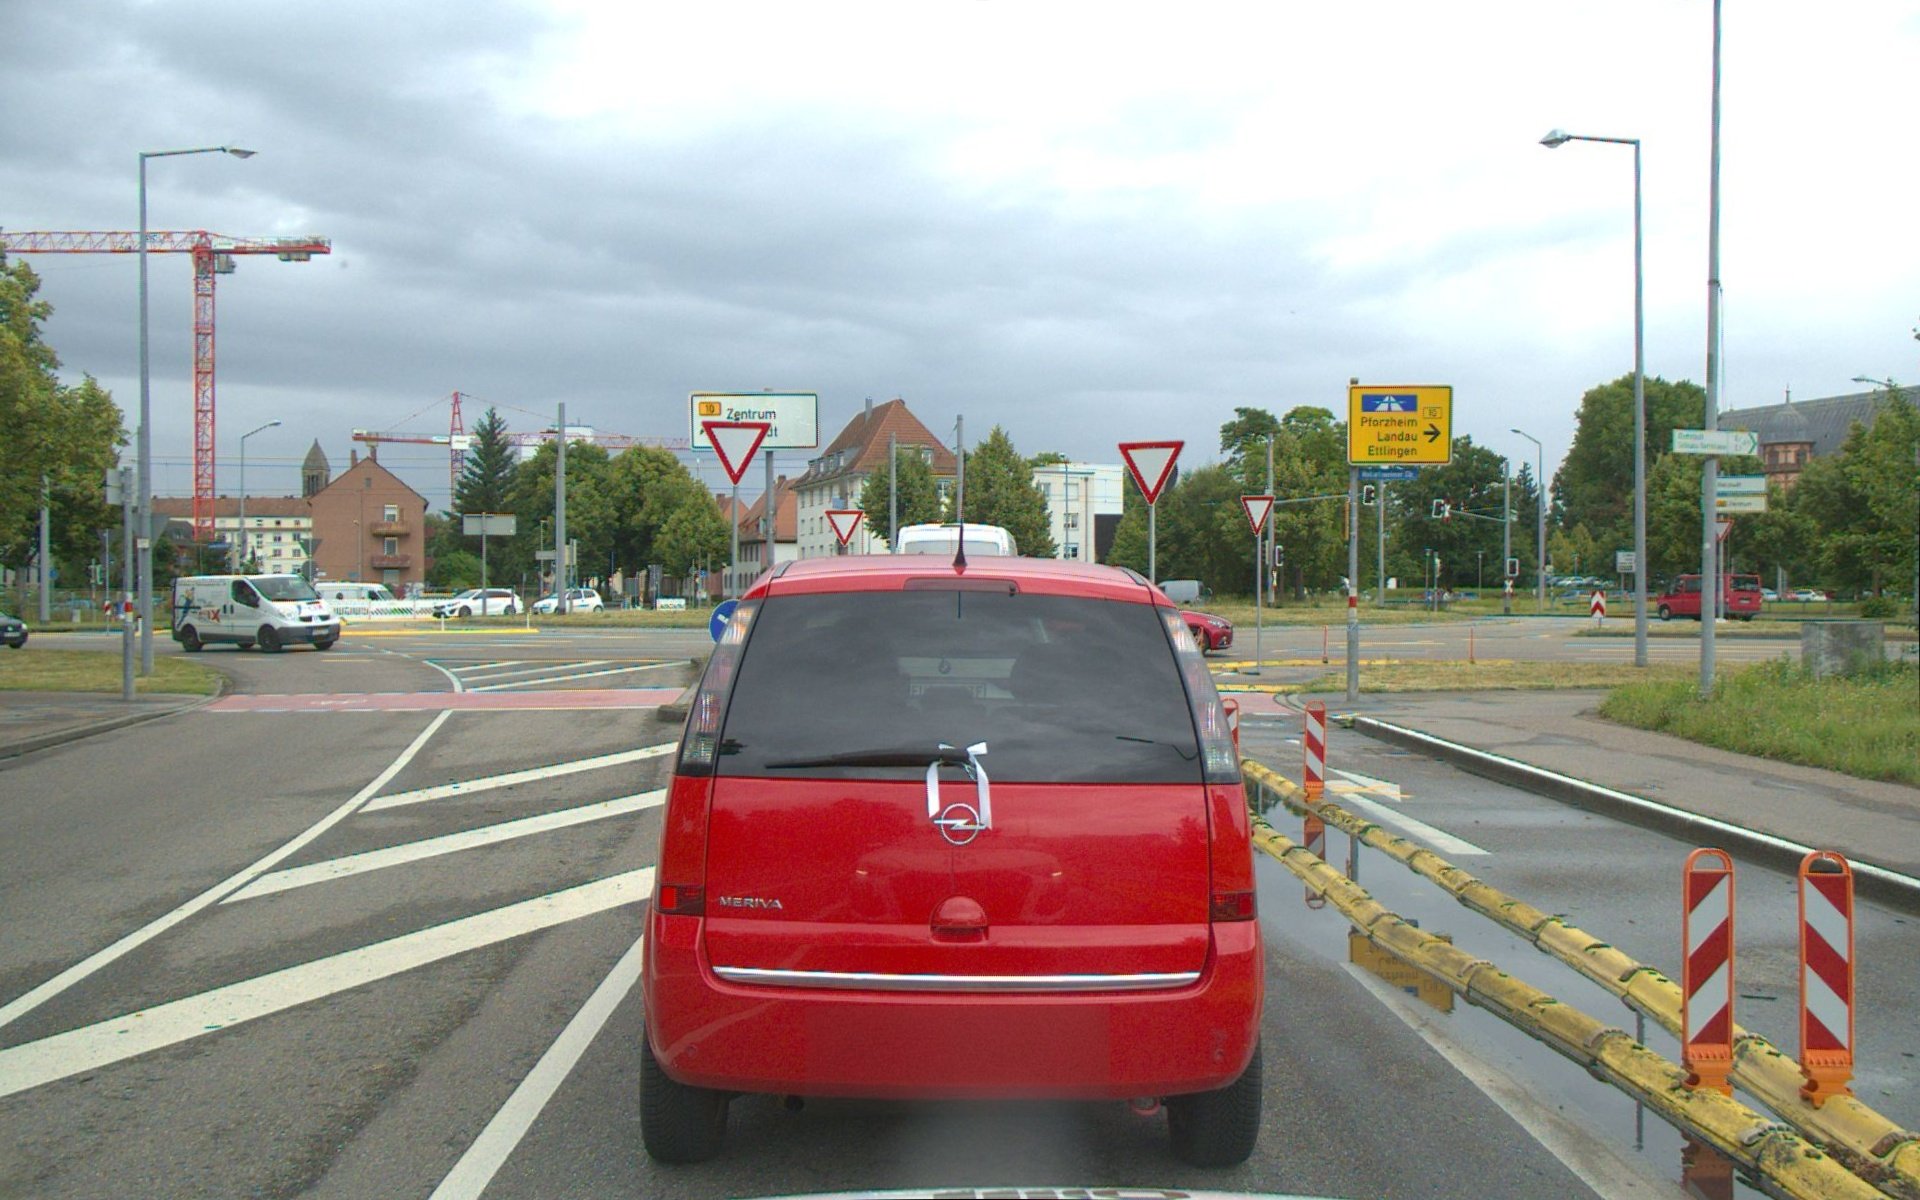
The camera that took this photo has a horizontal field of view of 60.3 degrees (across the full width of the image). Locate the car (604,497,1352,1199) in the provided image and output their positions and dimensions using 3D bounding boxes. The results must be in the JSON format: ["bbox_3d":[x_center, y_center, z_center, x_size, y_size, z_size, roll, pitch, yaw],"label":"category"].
[{"bbox_3d":[0.016,0.606,5.481,1.639,1.669,3.626,1,0,-1],"label":"car"}]

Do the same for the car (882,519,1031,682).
[{"bbox_3d":[0.049,-0.010,28.985,2.149,2.584,4.965,1,0,5],"label":"car"}]

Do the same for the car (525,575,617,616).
[{"bbox_3d":[-19.971,-0.252,85.010,1.959,2.049,4.466,0,0,34],"label":"car"}]

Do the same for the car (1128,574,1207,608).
[{"bbox_3d":[12.585,-0.548,100.346,4.379,2.049,1.997,0,0,29],"label":"car"}]

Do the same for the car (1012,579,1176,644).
[{"bbox_3d":[3.342,0.269,40.735,3.902,1.534,2.002,0,0,7],"label":"car"}]

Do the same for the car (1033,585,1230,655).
[{"bbox_3d":[3.843,0.437,36.889,4.250,1.489,2.002,0,0,8],"label":"car"}]

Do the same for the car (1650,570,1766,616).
[{"bbox_3d":[32.677,-0.307,72.401,2.073,1.951,4.872,-1,0,-14],"label":"car"}]

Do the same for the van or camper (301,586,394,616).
[{"bbox_3d":[-44.241,0.073,119.501,6.045,2.049,2.002,0,0,10],"label":"van or camper"}]

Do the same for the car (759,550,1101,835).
[{"bbox_3d":[-0.210,0.538,12.178,2.018,1.676,4.606,1,0,-1],"label":"car"}]

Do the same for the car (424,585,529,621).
[{"bbox_3d":[-23.435,0.116,80.261,1.962,1.663,4.653,0,0,39],"label":"car"}]

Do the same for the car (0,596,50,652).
[{"bbox_3d":[-29.956,0.718,50.689,4.353,1.630,2.090,0,0,37],"label":"car"}]

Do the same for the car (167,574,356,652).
[{"bbox_3d":[-18.293,0.325,43.286,4.741,1.933,2.096,0,0,29],"label":"car"}]
